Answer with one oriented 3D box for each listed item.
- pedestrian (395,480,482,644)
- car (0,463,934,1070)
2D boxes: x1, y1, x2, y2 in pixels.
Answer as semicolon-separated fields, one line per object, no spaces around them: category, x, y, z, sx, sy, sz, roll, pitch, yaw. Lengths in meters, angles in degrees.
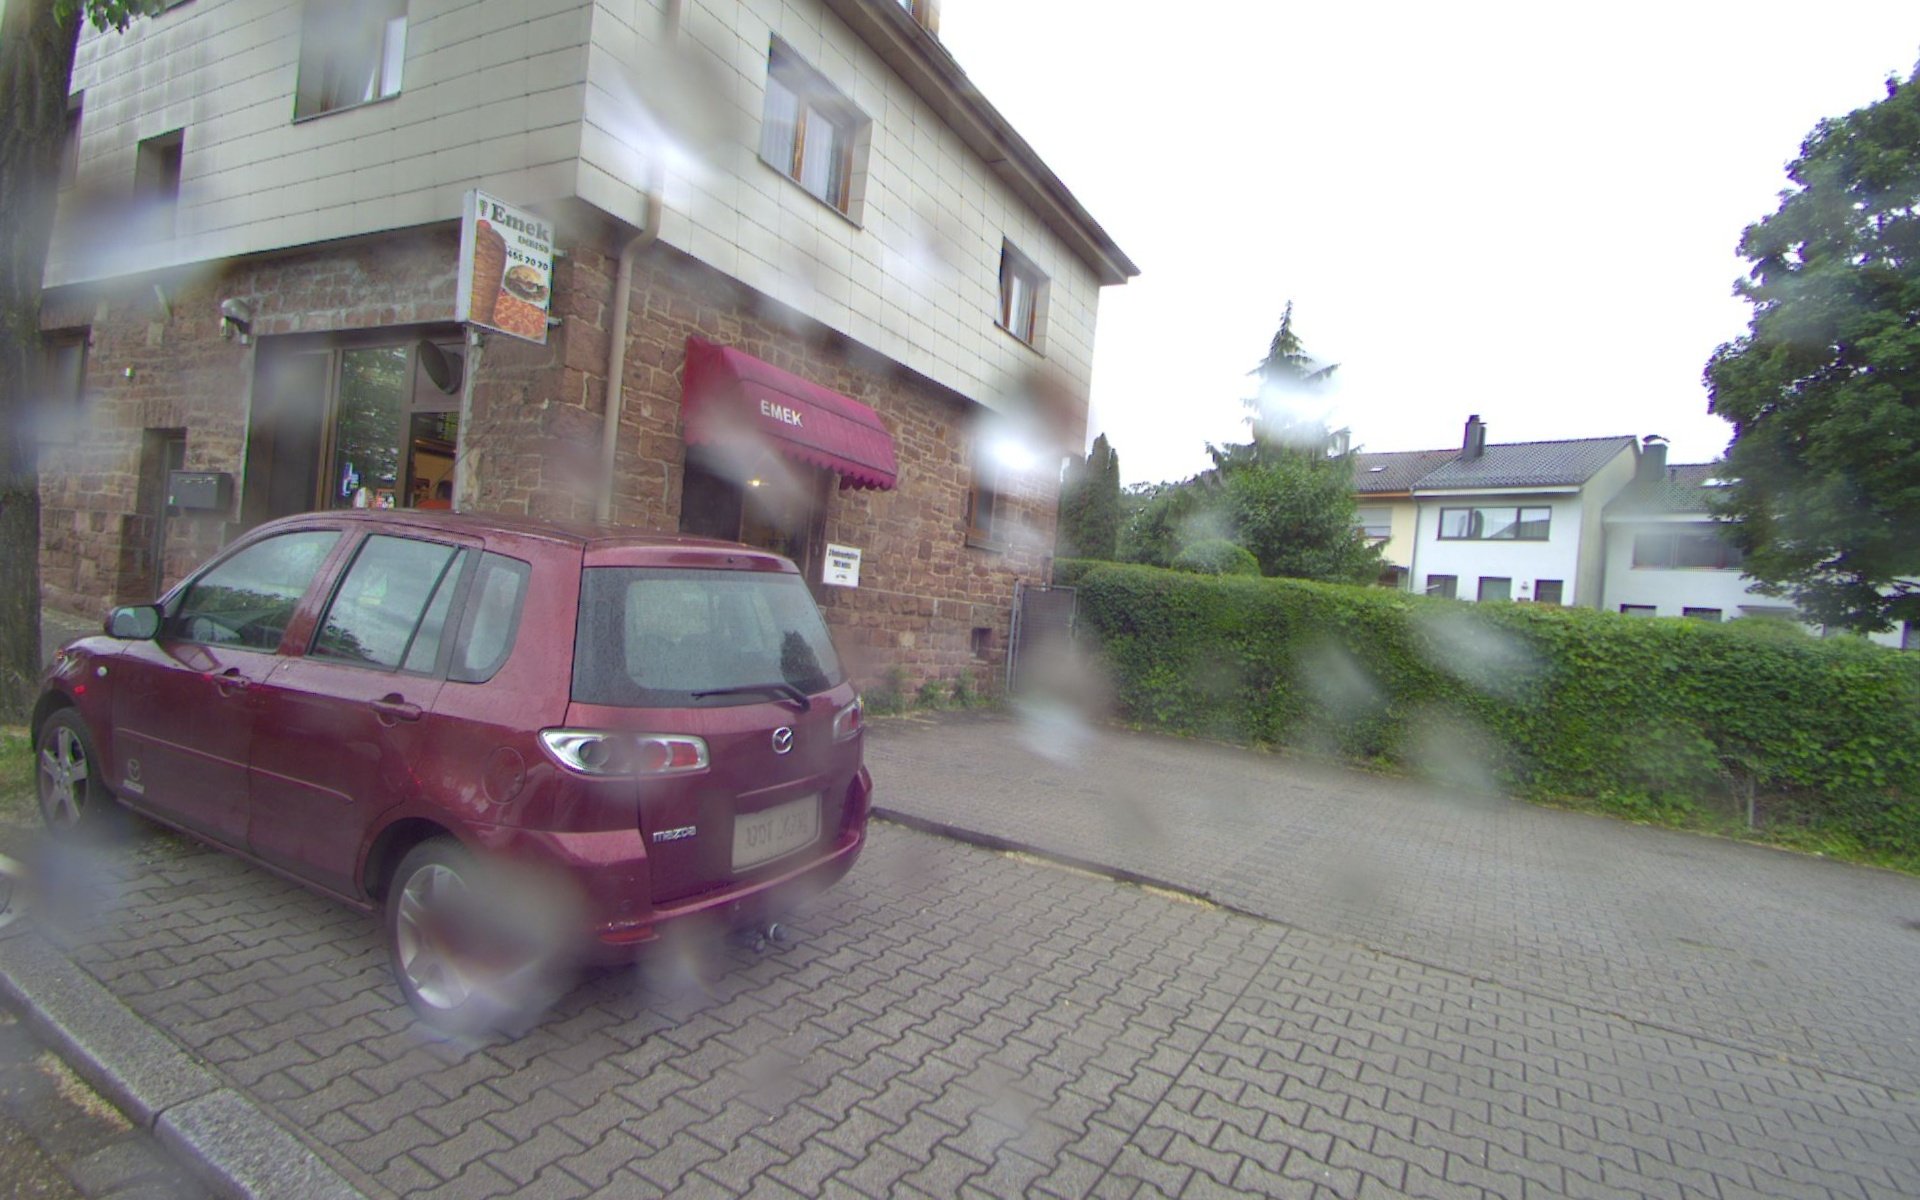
pedestrian;-5.596;-0.398;10.809;0.447;1.679;0.493;7;-1;31
car;-2.163;0.371;4.136;3.692;1.521;1.614;5;-3;29
